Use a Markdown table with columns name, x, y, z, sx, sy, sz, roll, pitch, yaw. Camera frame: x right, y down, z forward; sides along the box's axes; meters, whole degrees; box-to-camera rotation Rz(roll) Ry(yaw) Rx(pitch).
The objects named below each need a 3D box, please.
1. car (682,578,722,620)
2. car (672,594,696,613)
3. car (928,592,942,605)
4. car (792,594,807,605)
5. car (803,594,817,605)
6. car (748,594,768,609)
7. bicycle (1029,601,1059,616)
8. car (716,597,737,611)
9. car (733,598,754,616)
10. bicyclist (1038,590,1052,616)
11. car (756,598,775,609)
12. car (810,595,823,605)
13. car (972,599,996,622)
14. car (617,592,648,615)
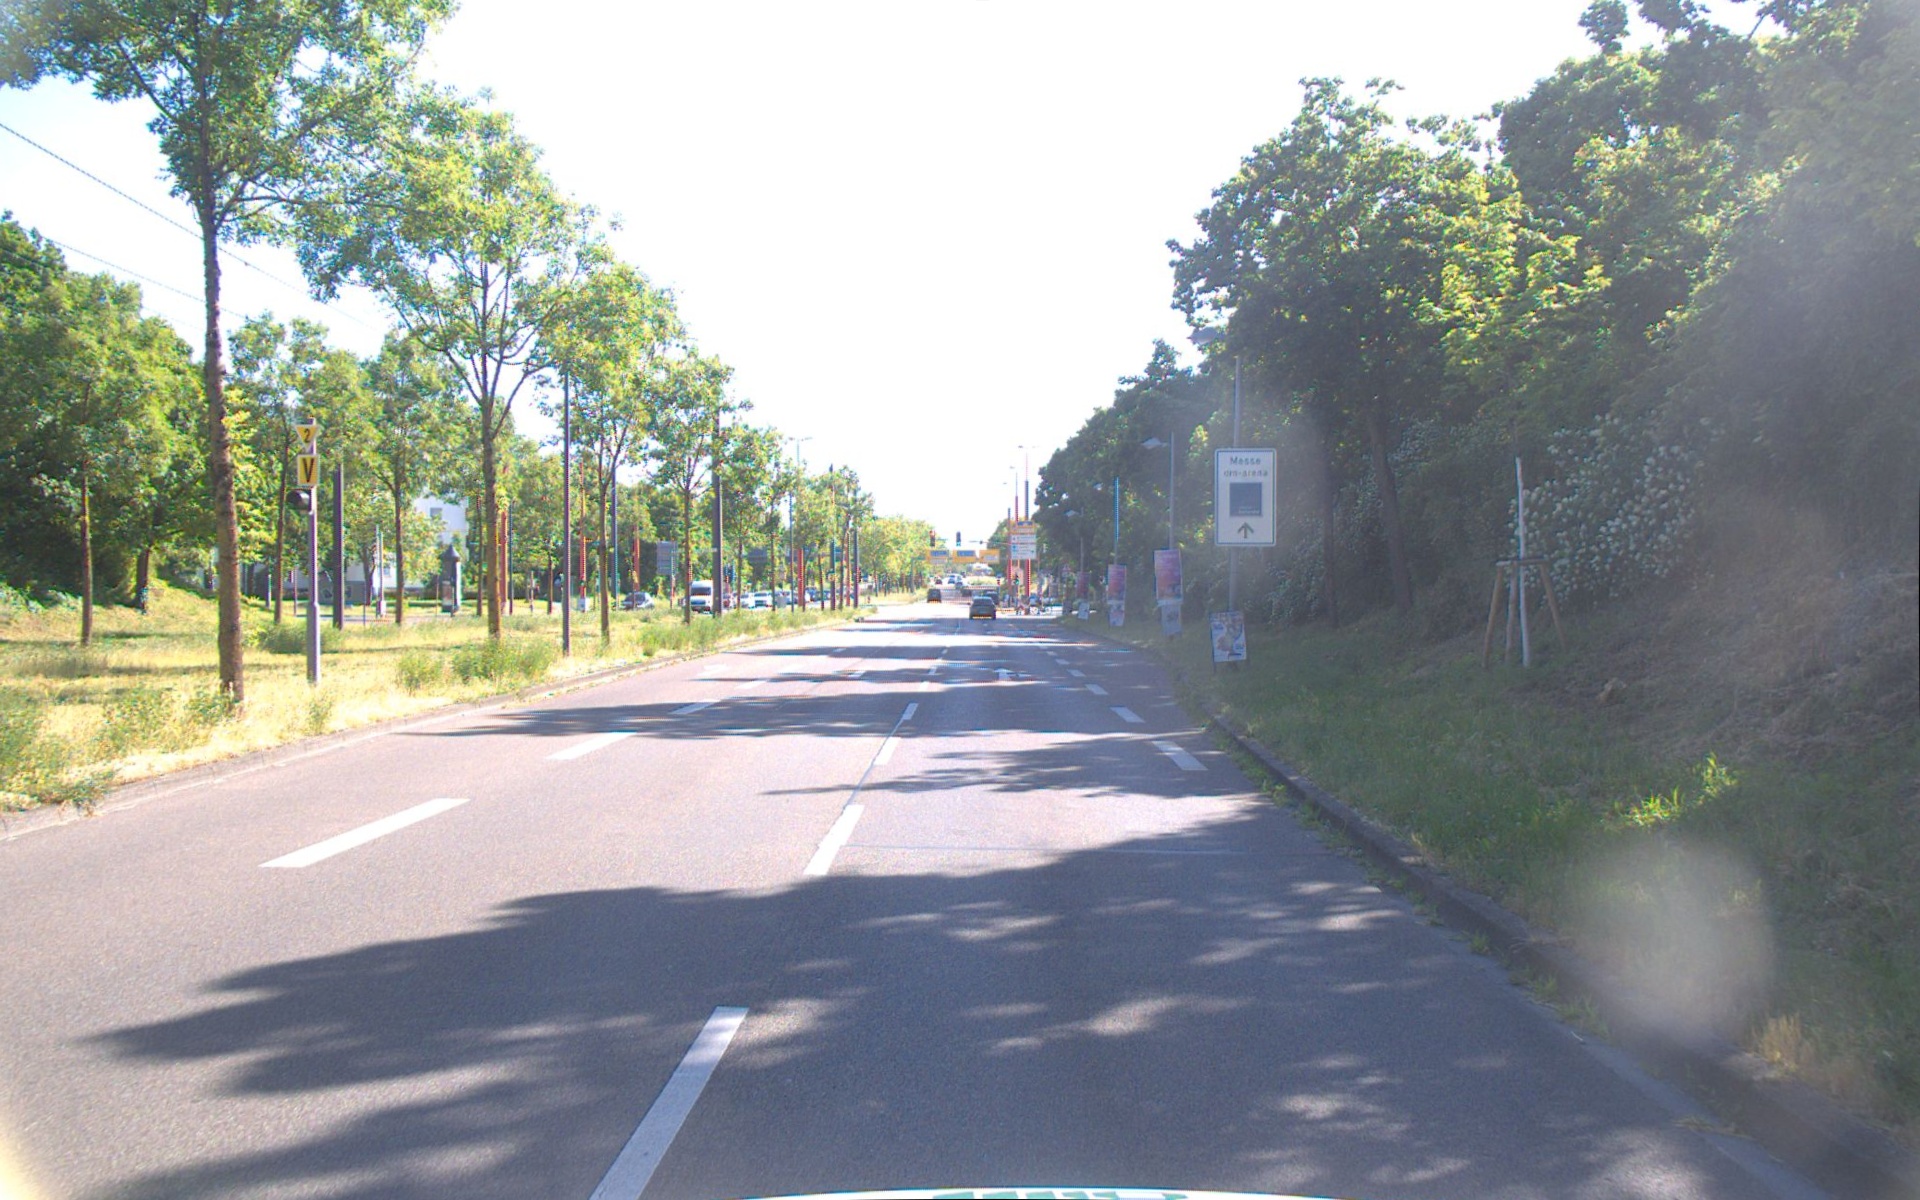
| name | x | y | z | sx | sy | sz | roll | pitch | yaw |
| --- | --- | --- | --- | --- | --- | --- | --- | --- | --- |
| car | -20.846 | -0.083 | 133.942 | 2.415 | 3.296 | 6.132 | 1 | -1 | -2 |
| car | -25.051 | 0.277 | 150.276 | 1.598 | 1.710 | 4.190 | 0 | 0 | -2 |
| car | -3.112 | -0.174 | 205.964 | 1.600 | 1.524 | 4.235 | 0 | 0 | 1 |
| car | -20.323 | -0.063 | 210.036 | 1.598 | 1.471 | 4.190 | 0 | 0 | -2 |
| car | -19.874 | -0.038 | 218.787 | 1.598 | 1.471 | 4.190 | 0 | 0 | -2 |
| car | -20.791 | 0.158 | 170.518 | 1.598 | 1.471 | 4.190 | 0 | 0 | -2 |
| bicycle | 6.641 | 0.689 | 130.920 | 2.365 | 1.129 | 0.812 | 0 | 0 | 0 |
| car | -23.777 | 0.395 | 168.623 | 1.598 | 1.311 | 4.097 | 0 | 0 | -2 |
| car | -21.028 | 0.670 | 160.751 | 1.598 | 1.710 | 4.190 | 0 | 0 | -2 |
| bicyclist | 6.727 | 0.237 | 130.922 | 0.988 | 2.042 | 0.812 | 0 | 0 | 0 |
| car | -21.104 | 0.398 | 179.684 | 1.598 | 1.130 | 4.190 | 0 | 0 | -2 |
| car | -20.139 | -0.028 | 232.215 | 1.598 | 1.471 | 4.190 | 0 | 0 | -2 |
| car | 1.582 | 0.678 | 110.375 | 1.600 | 1.524 | 4.235 | 0 | 0 | 1 |
| car | -24.451 | 0.236 | 123.680 | 1.598 | 1.710 | 4.190 | 0 | 0 | -2 |
